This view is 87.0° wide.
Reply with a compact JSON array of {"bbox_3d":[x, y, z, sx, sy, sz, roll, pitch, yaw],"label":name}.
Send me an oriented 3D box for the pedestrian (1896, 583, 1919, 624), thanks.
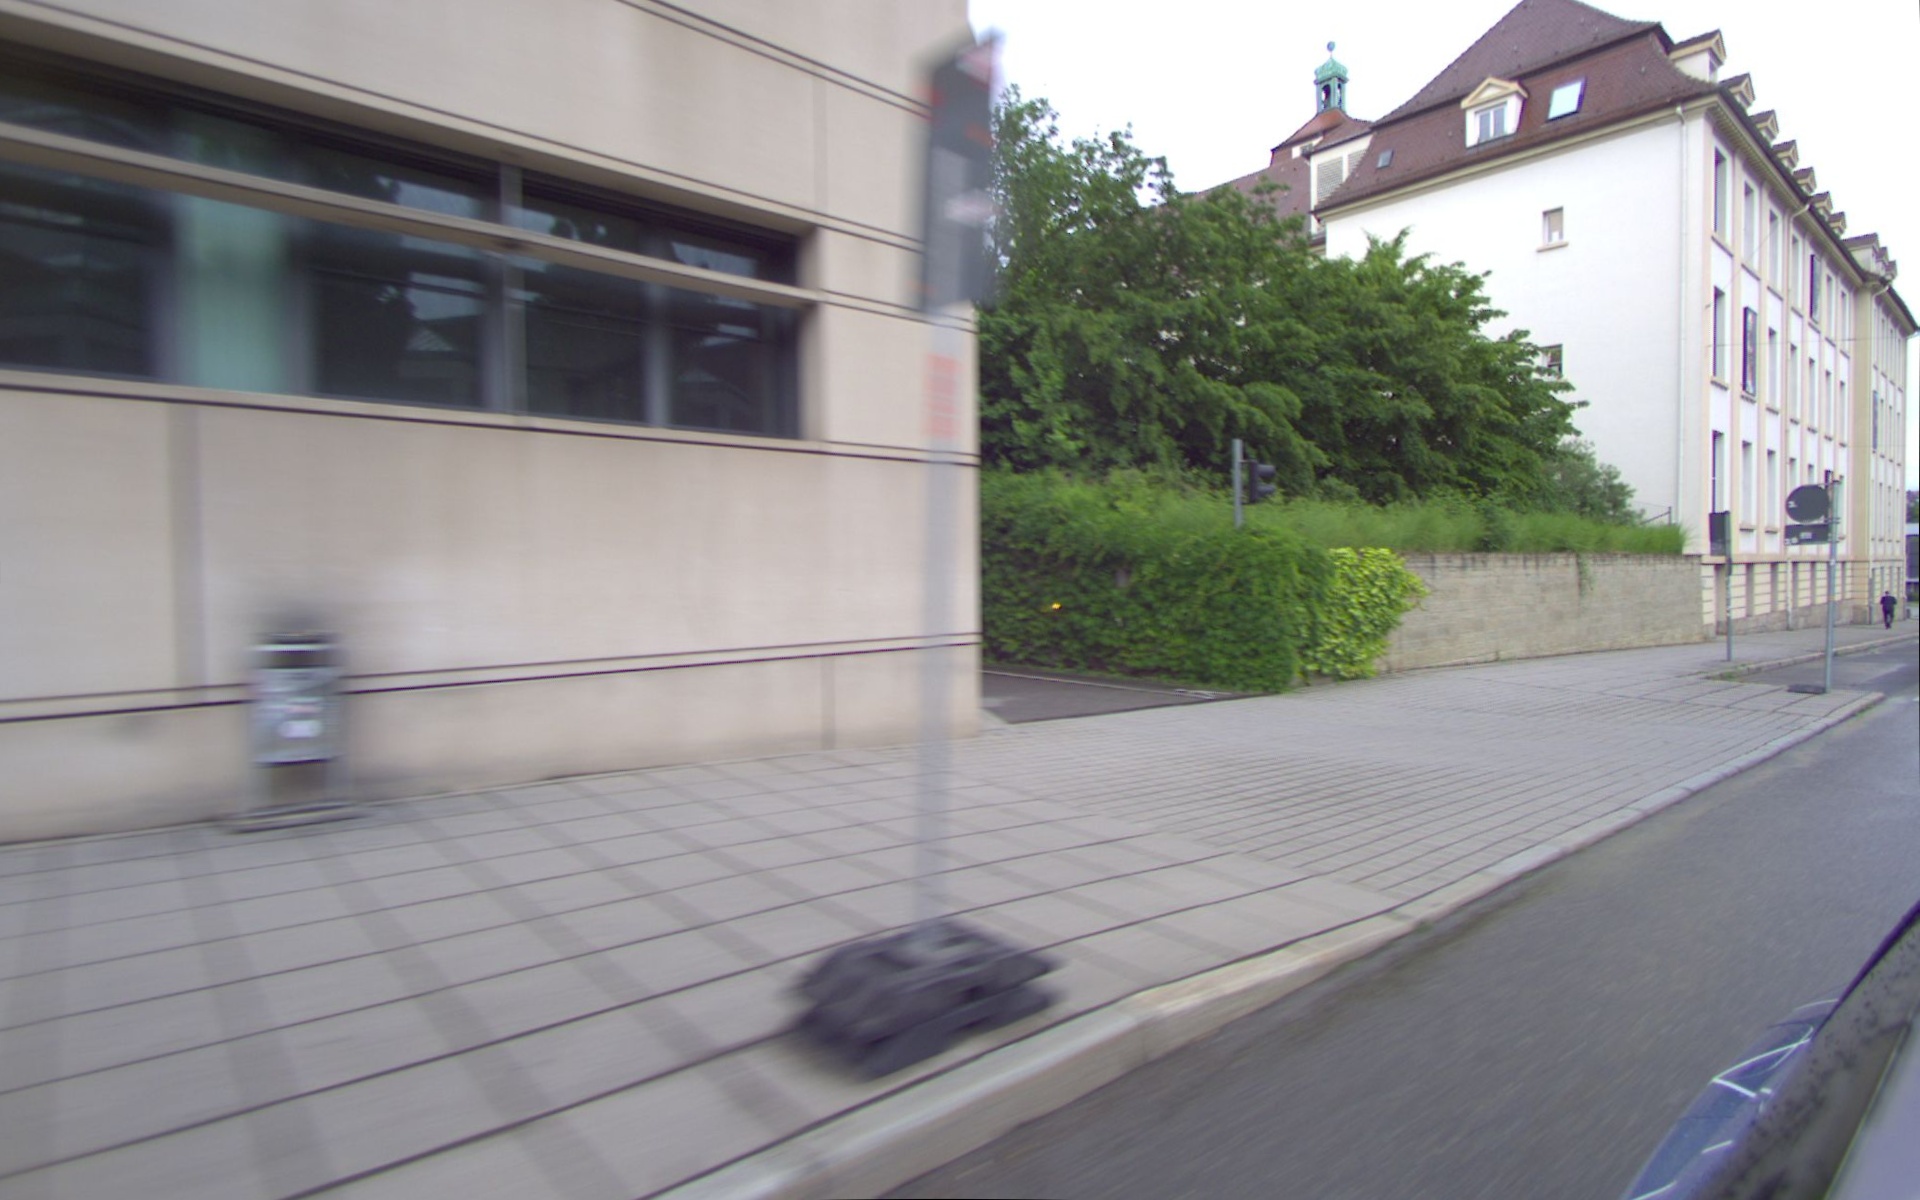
[{"bbox_3d":[43.750,0.150,46.724,0.837,1.820,0.671,0,2,-40],"label":"pedestrian"}]
